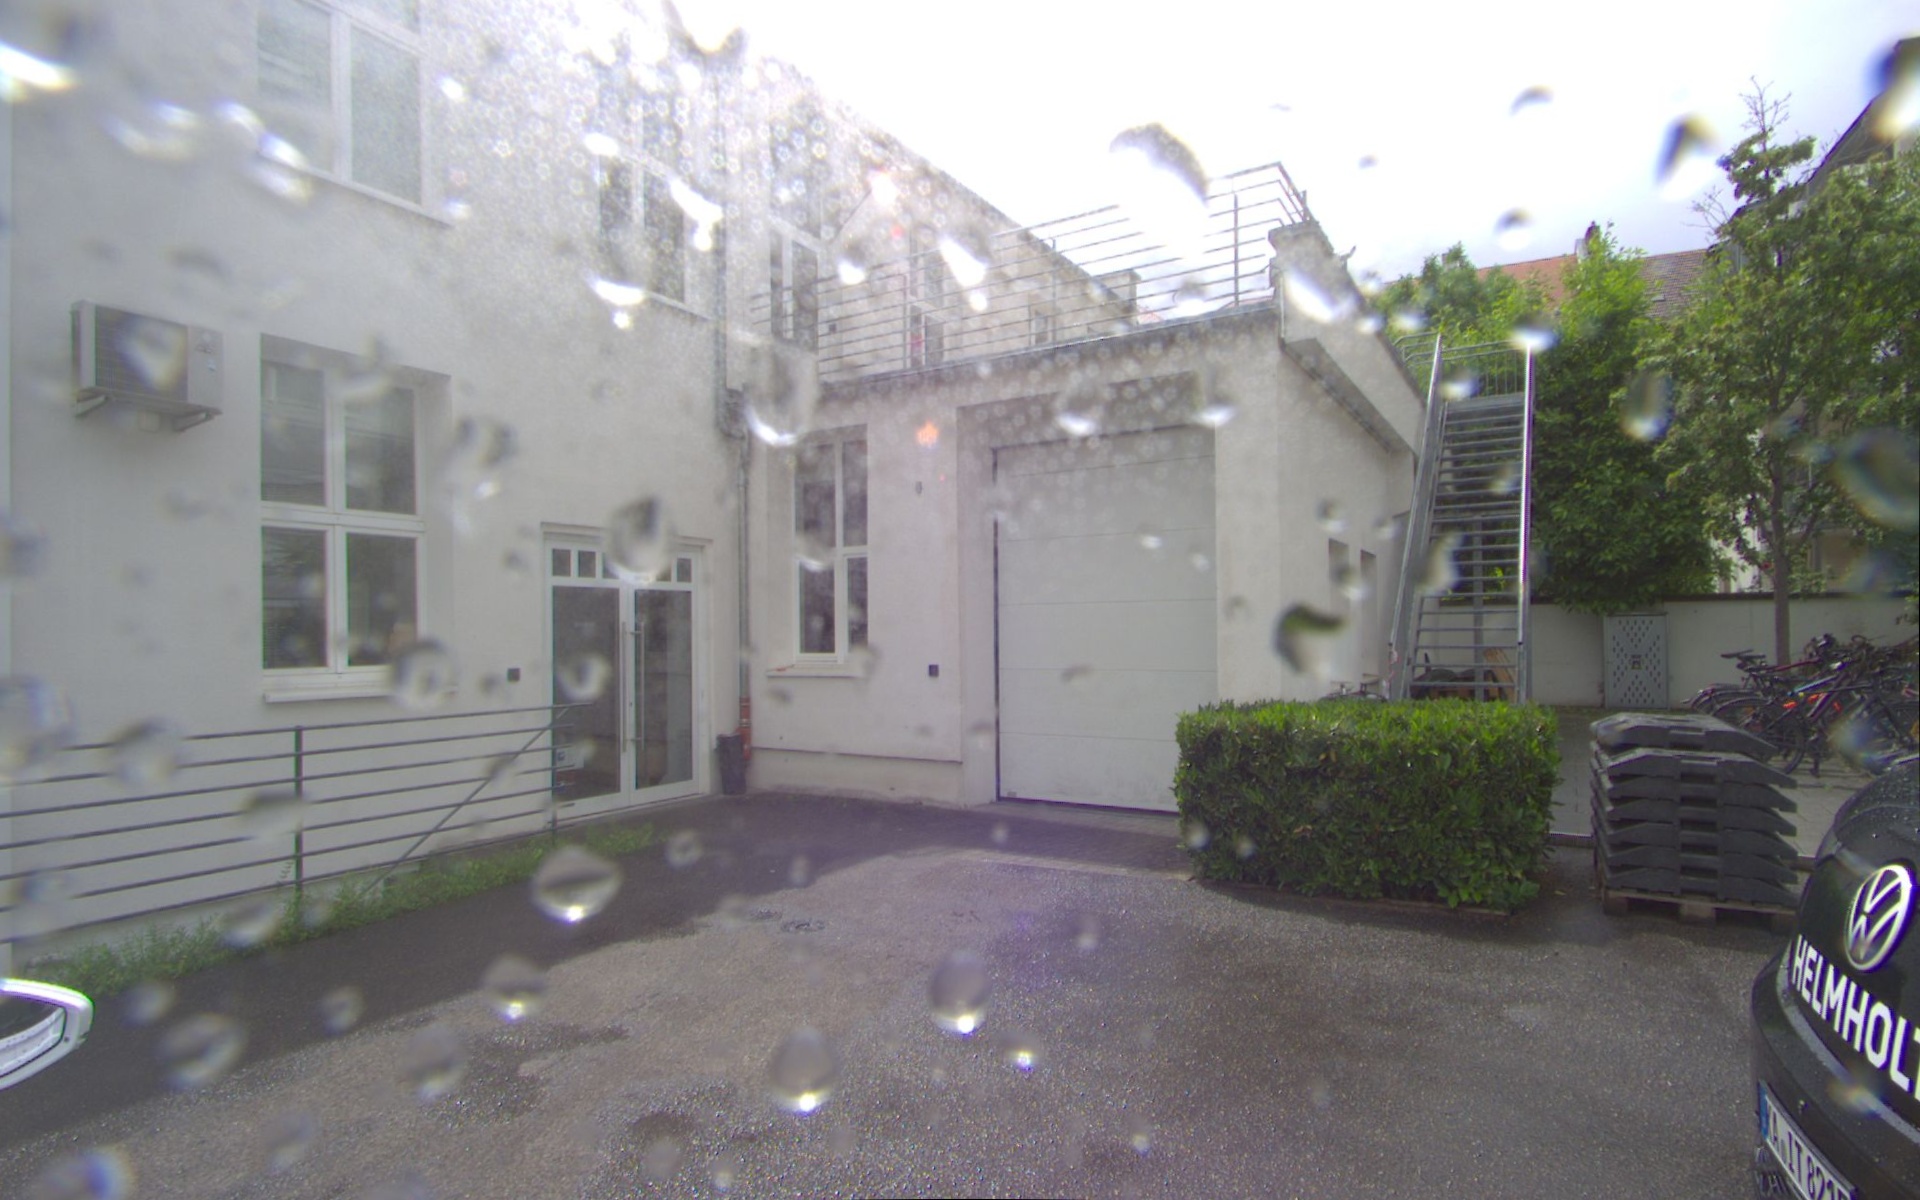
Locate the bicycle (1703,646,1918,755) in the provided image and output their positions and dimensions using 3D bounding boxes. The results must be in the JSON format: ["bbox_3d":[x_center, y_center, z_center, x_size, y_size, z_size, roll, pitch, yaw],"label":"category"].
[{"bbox_3d":[9.167,1.060,10.861,1.727,1.118,0.354,-1,0,26],"label":"bicycle"}]

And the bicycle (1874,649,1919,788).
[{"bbox_3d":[8.436,0.953,7.892,1.772,1.118,0.365,-1,-1,34],"label":"bicycle"}]

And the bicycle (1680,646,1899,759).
[{"bbox_3d":[8.665,1.049,10.534,1.727,1.118,0.344,-1,0,26],"label":"bicycle"}]

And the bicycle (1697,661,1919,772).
[{"bbox_3d":[8.110,1.080,9.497,1.767,0.980,0.329,-1,0,26],"label":"bicycle"}]

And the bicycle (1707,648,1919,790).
[{"bbox_3d":[7.410,0.971,8.416,1.772,1.118,0.403,-1,-1,34],"label":"bicycle"}]

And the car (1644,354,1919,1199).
[{"bbox_3d":[3.654,0.553,0.901,4.671,1.888,1.965,-2,-2,25],"label":"car"}]

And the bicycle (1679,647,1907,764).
[{"bbox_3d":[8.382,1.036,10.147,1.727,1.118,0.341,-1,0,26],"label":"bicycle"}]

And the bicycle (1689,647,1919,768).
[{"bbox_3d":[8.243,1.023,9.814,1.727,1.118,0.332,-1,0,26],"label":"bicycle"}]

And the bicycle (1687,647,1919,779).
[{"bbox_3d":[7.756,0.998,9.146,1.772,1.118,0.352,-1,-1,34],"label":"bicycle"}]
